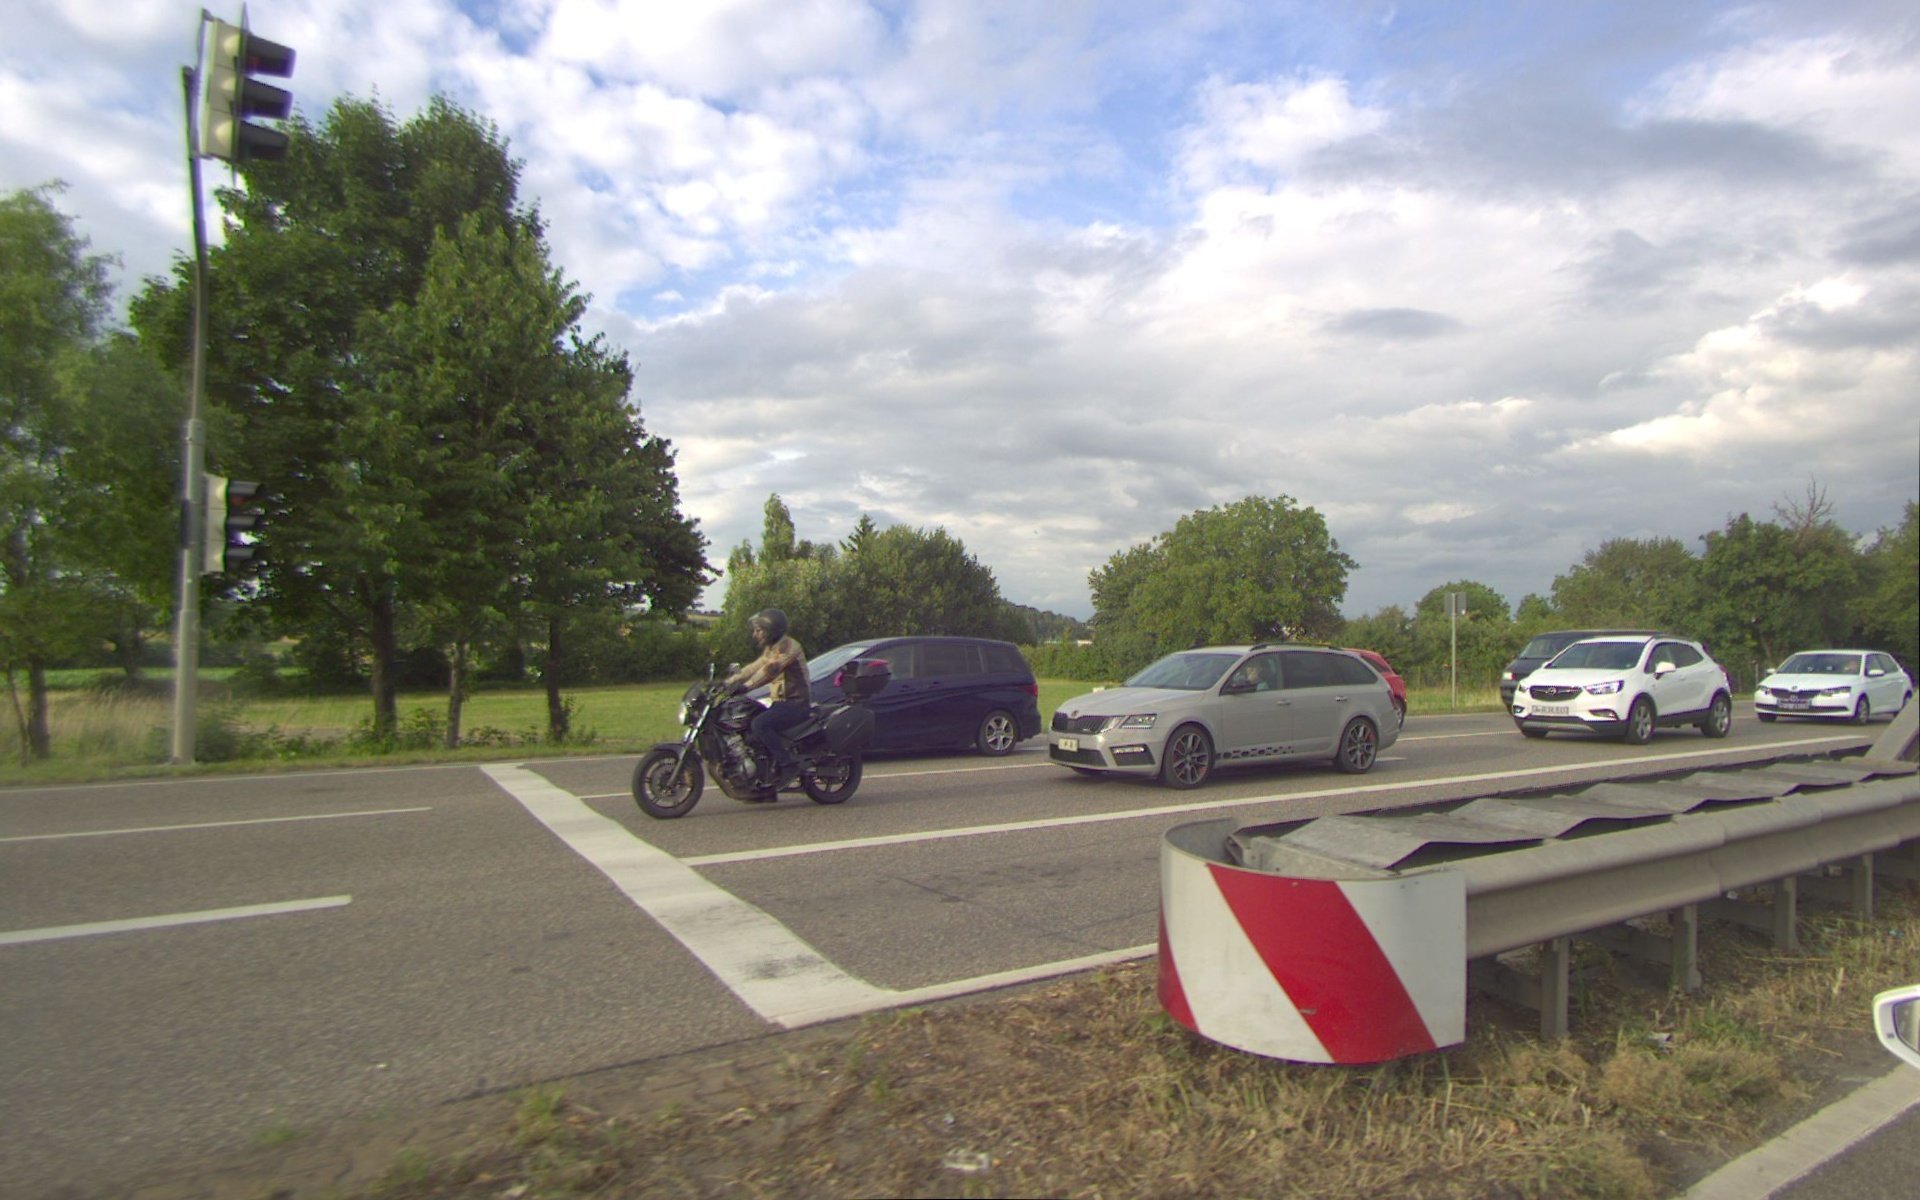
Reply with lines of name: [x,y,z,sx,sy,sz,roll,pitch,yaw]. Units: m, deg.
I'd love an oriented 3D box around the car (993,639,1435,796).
car: [3.008,1.183,11.472,5.093,1.447,1.898,2,-2,-31]

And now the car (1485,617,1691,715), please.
car: [14.463,1.501,23.081,4.890,2.040,1.984,2,-3,-31]

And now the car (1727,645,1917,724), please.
car: [17.714,1.660,20.607,4.113,1.463,1.780,2,-2,-31]

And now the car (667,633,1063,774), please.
car: [-1.158,1.237,13.247,4.882,1.556,1.898,2,-2,-31]

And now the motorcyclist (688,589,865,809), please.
motorcyclist: [-1.586,0.818,8.668,1.261,1.731,0.912,2,-3,-30]

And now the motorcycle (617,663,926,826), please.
motorcycle: [-1.582,1.158,8.647,2.450,1.219,0.912,2,-3,-31]

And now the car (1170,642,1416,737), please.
car: [5.872,1.488,17.634,4.136,1.484,1.898,2,-2,-31]

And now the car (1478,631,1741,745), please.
car: [10.633,1.346,16.377,4.355,1.631,1.898,2,-2,-31]
